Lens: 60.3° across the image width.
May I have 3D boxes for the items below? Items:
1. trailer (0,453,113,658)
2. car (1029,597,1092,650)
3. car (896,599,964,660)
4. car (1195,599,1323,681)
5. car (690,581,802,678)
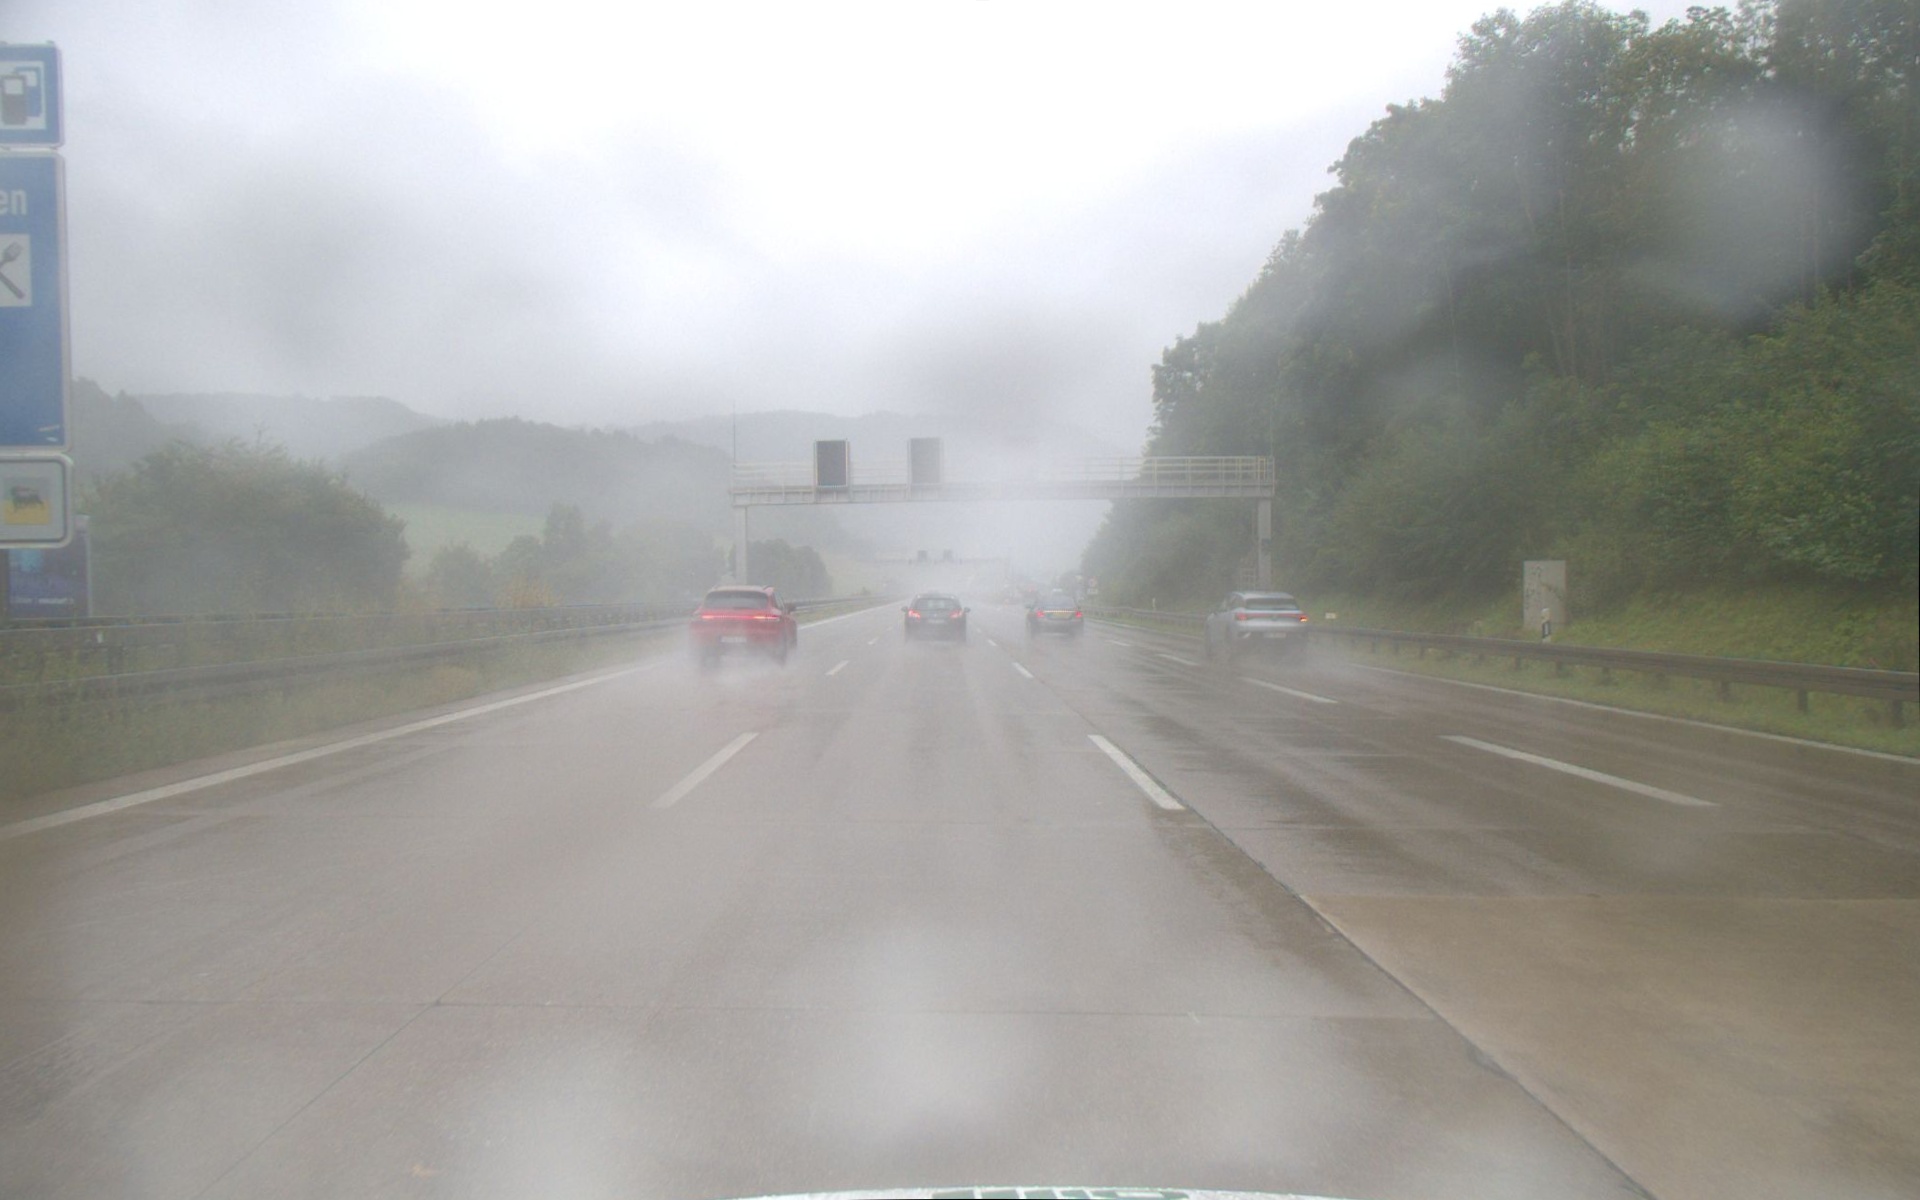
[{"bbox_3d":[-21.540,-0.939,33.193,3.287,4.246,11.400,1,0,-1],"label":"trailer"},{"bbox_3d":[3.545,0.805,58.703,1.931,1.791,3.999,1,0,-1],"label":"car"},{"bbox_3d":[-0.853,0.820,47.442,1.822,1.617,3.999,1,0,-1],"label":"car"},{"bbox_3d":[7.043,0.893,39.605,1.953,1.781,5.661,1,0,-1],"label":"car"},{"bbox_3d":[-4.298,0.558,33.757,1.846,1.847,3.999,1,0,-2],"label":"car"}]
